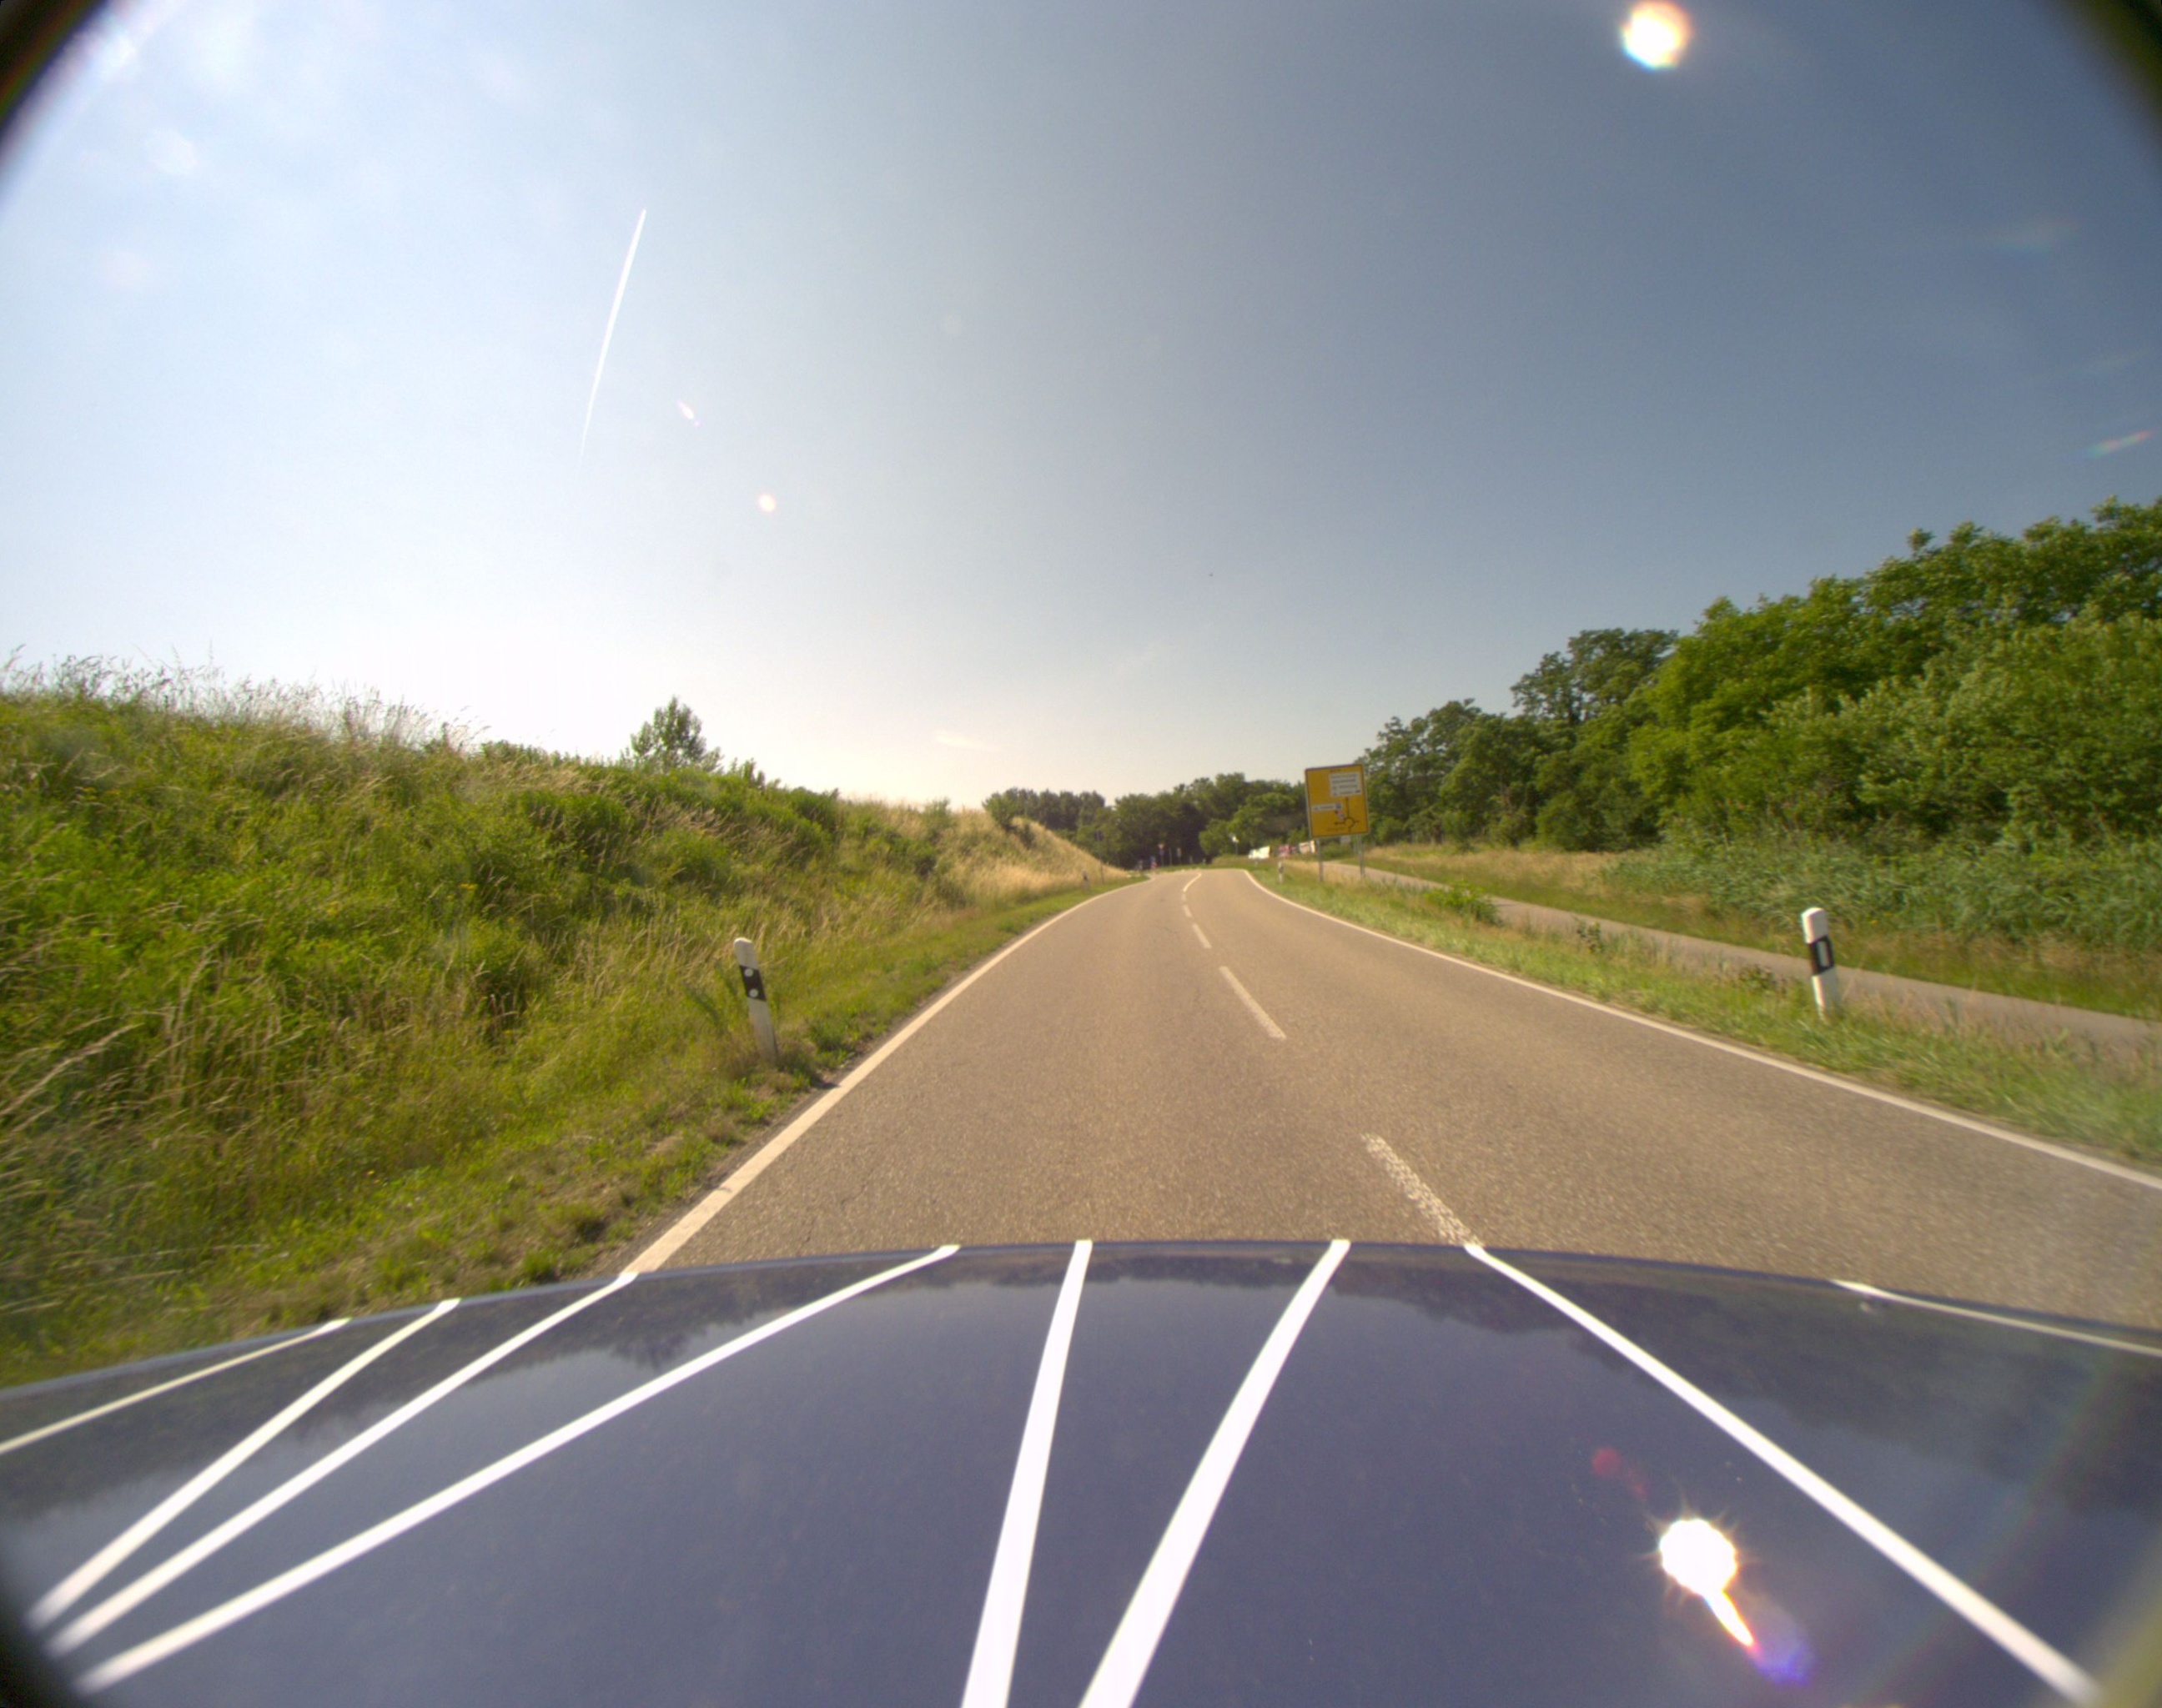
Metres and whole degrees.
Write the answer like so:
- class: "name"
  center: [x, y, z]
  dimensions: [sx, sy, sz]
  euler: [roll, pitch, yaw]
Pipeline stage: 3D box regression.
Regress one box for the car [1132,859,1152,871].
- class: "car"
  center: [9.592, 1.721, 118.878]
  dimensions: [1.708, 1.646, 4.347]
  euler: [-5, 0, -14]
